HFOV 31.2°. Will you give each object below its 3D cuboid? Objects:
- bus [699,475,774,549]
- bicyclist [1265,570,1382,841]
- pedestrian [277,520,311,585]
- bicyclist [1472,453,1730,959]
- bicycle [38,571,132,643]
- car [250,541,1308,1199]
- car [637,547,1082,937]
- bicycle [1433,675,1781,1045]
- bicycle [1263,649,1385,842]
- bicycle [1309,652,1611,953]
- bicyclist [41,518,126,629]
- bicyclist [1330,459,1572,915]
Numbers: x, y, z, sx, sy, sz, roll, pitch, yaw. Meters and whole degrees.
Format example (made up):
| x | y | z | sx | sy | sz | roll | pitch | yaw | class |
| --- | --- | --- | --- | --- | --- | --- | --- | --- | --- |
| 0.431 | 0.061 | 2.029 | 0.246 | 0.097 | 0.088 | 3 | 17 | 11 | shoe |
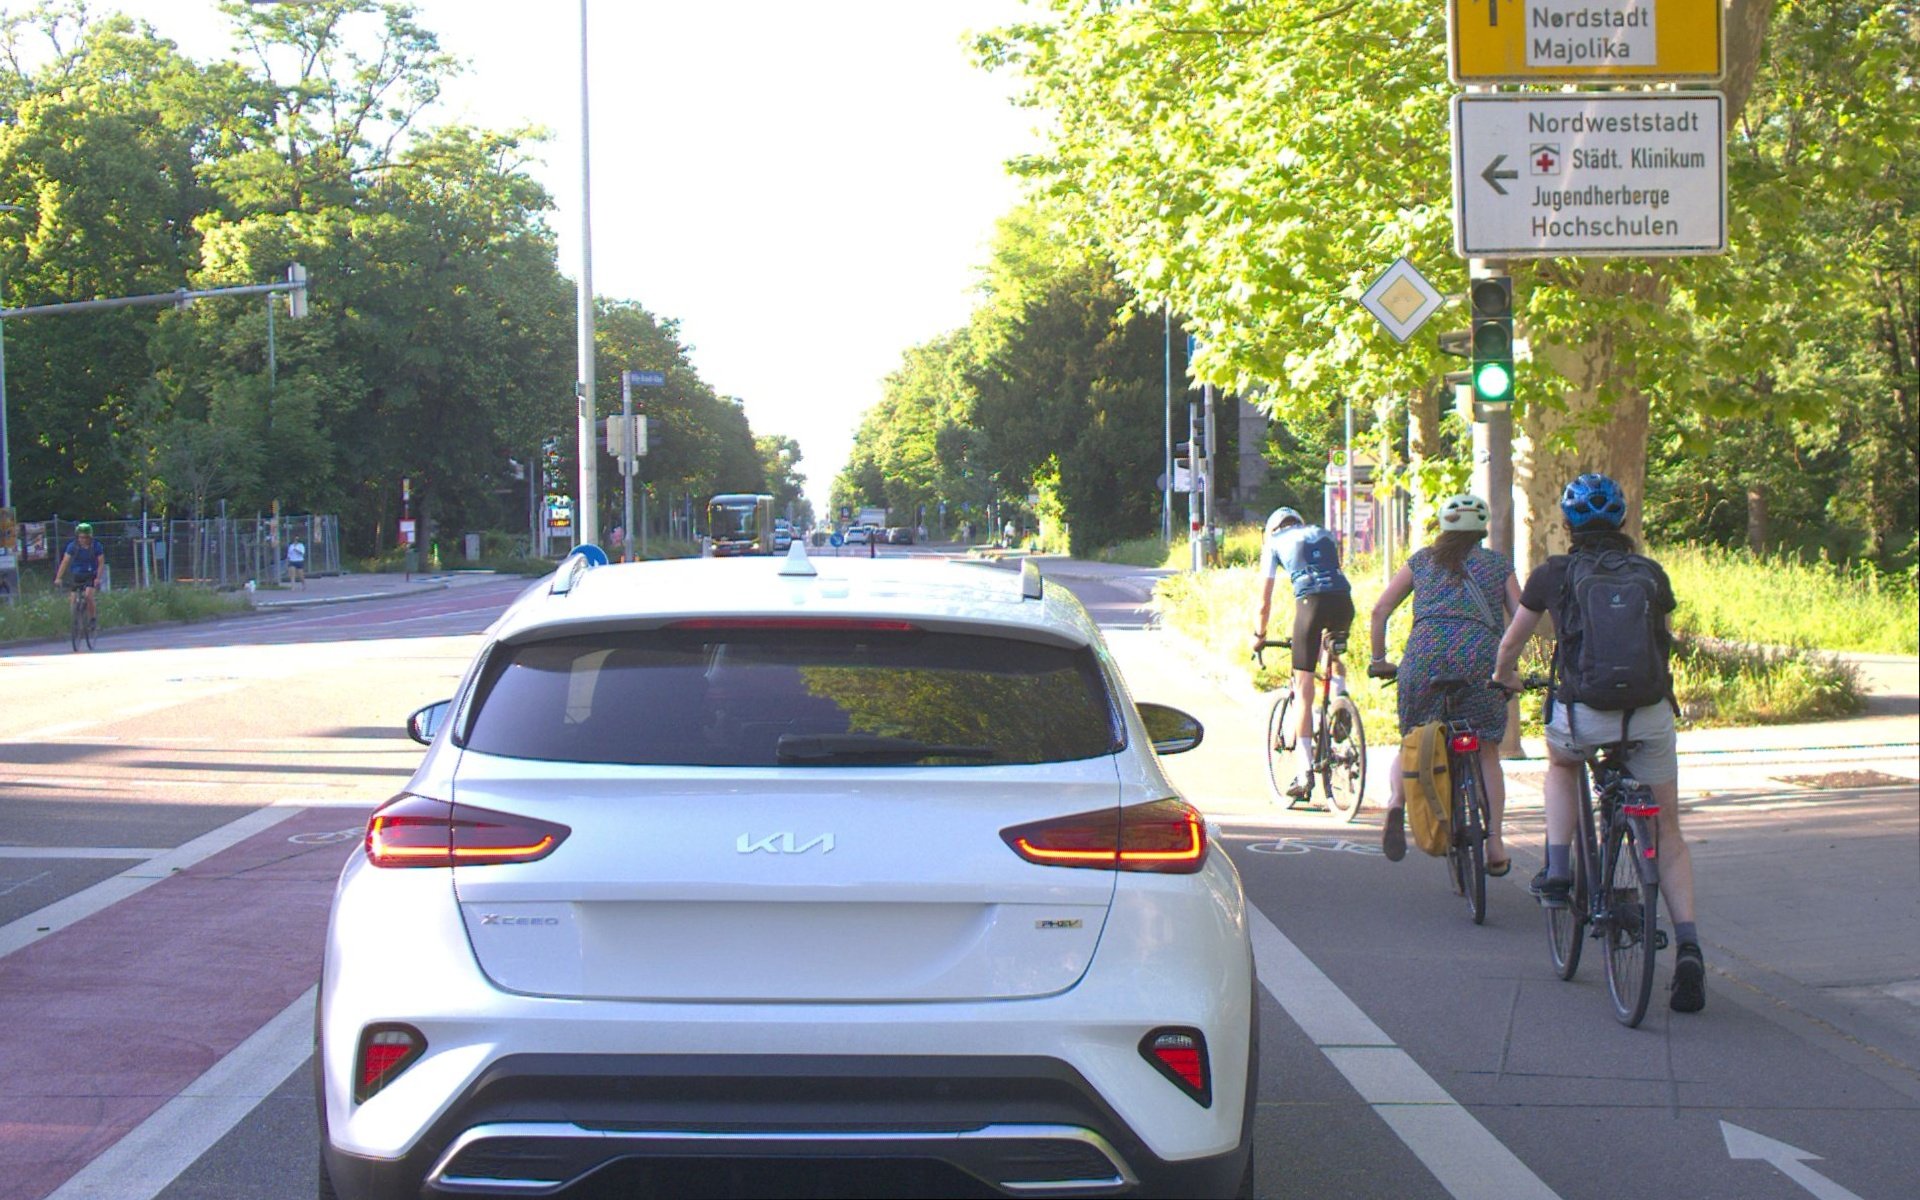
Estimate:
| x | y | z | sx | sy | sz | roll | pitch | yaw | class |
| --- | --- | --- | --- | --- | --- | --- | --- | --- | --- |
| -11.768 | -4.623 | 181.460 | 3.741 | 3.660 | 13.243 | -1 | 1 | -4 | bus |
| 2.014 | 0.574 | 19.087 | 0.554 | 1.473 | 0.717 | 0 | 1 | -1 | bicyclist |
| -18.405 | -1.304 | 94.987 | 0.785 | 1.779 | 0.751 | 0 | 1 | 0 | pedestrian |
| 2.083 | 0.329 | 11.249 | 0.665 | 1.596 | 0.721 | 1 | 1 | -2 | bicyclist |
| -12.944 | 0.090 | 50.938 | 0.663 | 0.985 | 2.504 | -1 | 1 | 2 | bicycle |
| -0.374 | 0.620 | 7.905 | 1.821 | 1.475 | 3.937 | 0 | 1 | -2 | car |
| -0.464 | 0.536 | 15.384 | 1.728 | 1.478 | 3.517 | -1 | 1 | -2 | car |
| 2.074 | 0.800 | 11.302 | 0.668 | 1.006 | 2.081 | 1 | 1 | -2 | bicycle |
| 1.997 | 0.782 | 18.994 | 0.401 | 0.953 | 1.551 | -4 | 1 | -2 | bicycle |
| 1.995 | 0.774 | 14.104 | 0.758 | 1.009 | 2.570 | 1 | 1 | -2 | bicycle |
| -12.959 | -0.402 | 50.842 | 0.875 | 1.603 | 1.188 | -1 | 1 | 1 | bicyclist |
| 2.001 | 0.331 | 14.167 | 0.753 | 1.789 | 1.165 | 1 | 1 | -2 | bicyclist |
